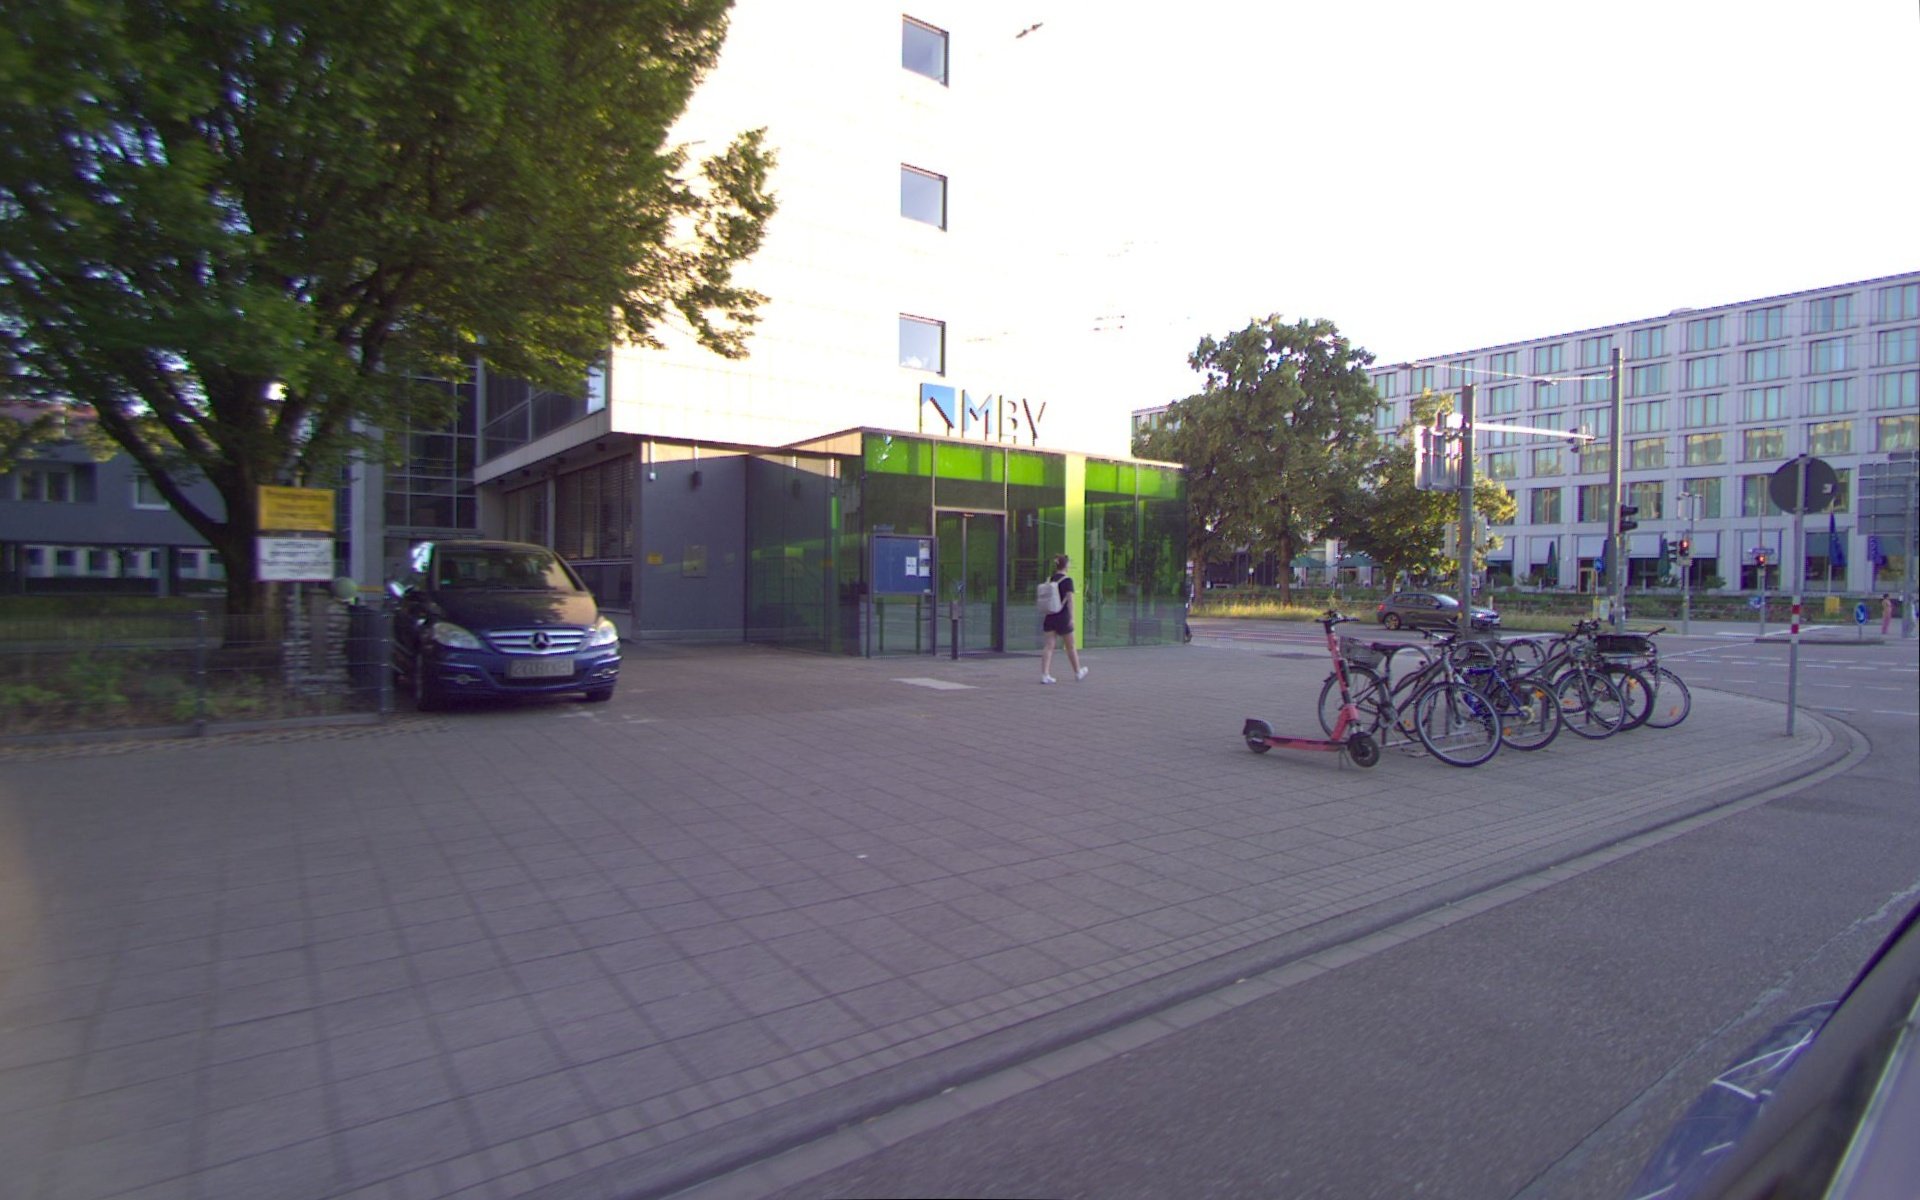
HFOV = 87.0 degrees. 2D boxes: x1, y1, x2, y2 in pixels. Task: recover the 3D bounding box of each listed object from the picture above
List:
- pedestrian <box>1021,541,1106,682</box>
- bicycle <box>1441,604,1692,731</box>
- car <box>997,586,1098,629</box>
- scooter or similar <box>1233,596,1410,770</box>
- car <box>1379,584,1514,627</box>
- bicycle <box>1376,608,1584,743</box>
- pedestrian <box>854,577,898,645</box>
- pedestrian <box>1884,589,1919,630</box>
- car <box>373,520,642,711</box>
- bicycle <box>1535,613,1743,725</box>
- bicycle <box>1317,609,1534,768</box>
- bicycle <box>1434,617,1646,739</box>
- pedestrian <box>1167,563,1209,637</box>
[{"bbox_3d":[1.378,0.130,13.469,0.705,1.790,0.975,1,1,39],"label":"pedestrian"},{"bbox_3d":[6.561,0.674,11.103,0.730,1.146,2.239,0,2,-34],"label":"bicycle"},{"bbox_3d":[3.226,0.247,37.980,1.667,1.428,3.868,-2,3,-36],"label":"car"},{"bbox_3d":[2.904,0.617,8.209,0.580,1.240,1.204,0,3,-35],"label":"scooter or similar"},{"bbox_3d":[17.697,0.157,37.006,1.666,1.438,4.175,0,2,-34],"label":"car"},{"bbox_3d":[4.783,0.641,9.393,0.730,1.088,1.556,0,1,-34],"label":"bicycle"},{"bbox_3d":[-1.537,0.190,18.552,0.604,1.224,0.543,0,1,-36],"label":"pedestrian"},{"bbox_3d":[38.428,0.396,41.287,0.712,1.646,0.739,0,1,-4],"label":"pedestrian"},{"bbox_3d":[-4.874,0.091,10.571,1.769,1.594,3.996,1,1,-36],"label":"car"},{"bbox_3d":[7.565,0.720,11.393,0.728,1.088,1.870,0,1,-18],"label":"bicycle"},{"bbox_3d":[3.947,0.691,8.680,0.730,1.177,1.531,0,1,-34],"label":"bicycle"},{"bbox_3d":[5.964,0.753,10.505,0.730,1.088,1.761,0,1,-34],"label":"bicycle"},{"bbox_3d":[5.603,-0.007,24.879,0.721,1.790,0.708,0,1,-36],"label":"pedestrian"}]
